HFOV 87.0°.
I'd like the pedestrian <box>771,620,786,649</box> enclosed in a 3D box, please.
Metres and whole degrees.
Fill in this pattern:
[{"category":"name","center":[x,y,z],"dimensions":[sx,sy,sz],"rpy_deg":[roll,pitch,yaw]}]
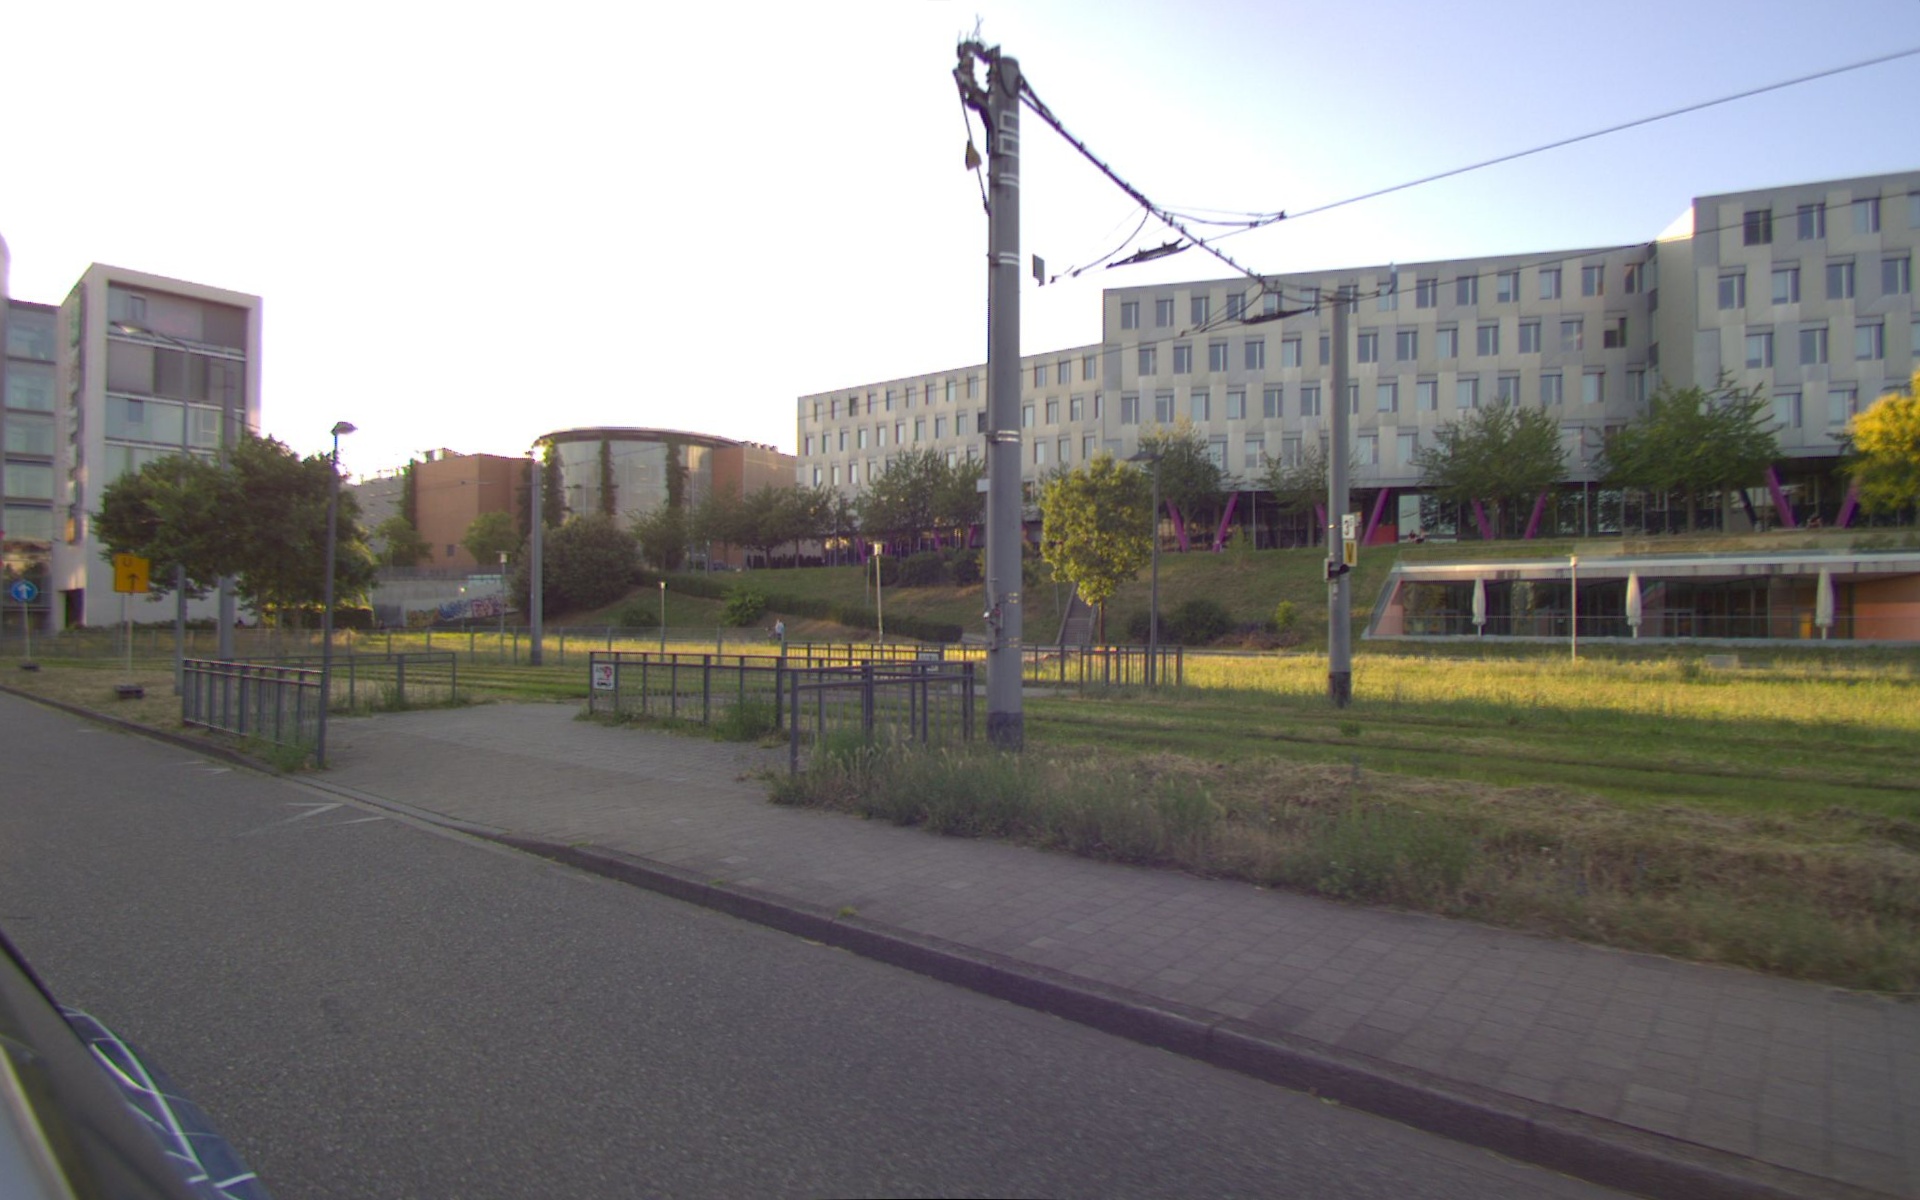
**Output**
[{"category":"pedestrian","center":[-11.836,2.259,66.004],"dimensions":[0.790,1.850,0.610],"rpy_deg":[-1,0,40]}]

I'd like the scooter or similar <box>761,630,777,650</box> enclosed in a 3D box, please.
[{"category":"scooter or similar","center":[-12.567,2.611,66.594],"dimensions":[0.790,1.253,0.610],"rpy_deg":[-1,0,40]}]
